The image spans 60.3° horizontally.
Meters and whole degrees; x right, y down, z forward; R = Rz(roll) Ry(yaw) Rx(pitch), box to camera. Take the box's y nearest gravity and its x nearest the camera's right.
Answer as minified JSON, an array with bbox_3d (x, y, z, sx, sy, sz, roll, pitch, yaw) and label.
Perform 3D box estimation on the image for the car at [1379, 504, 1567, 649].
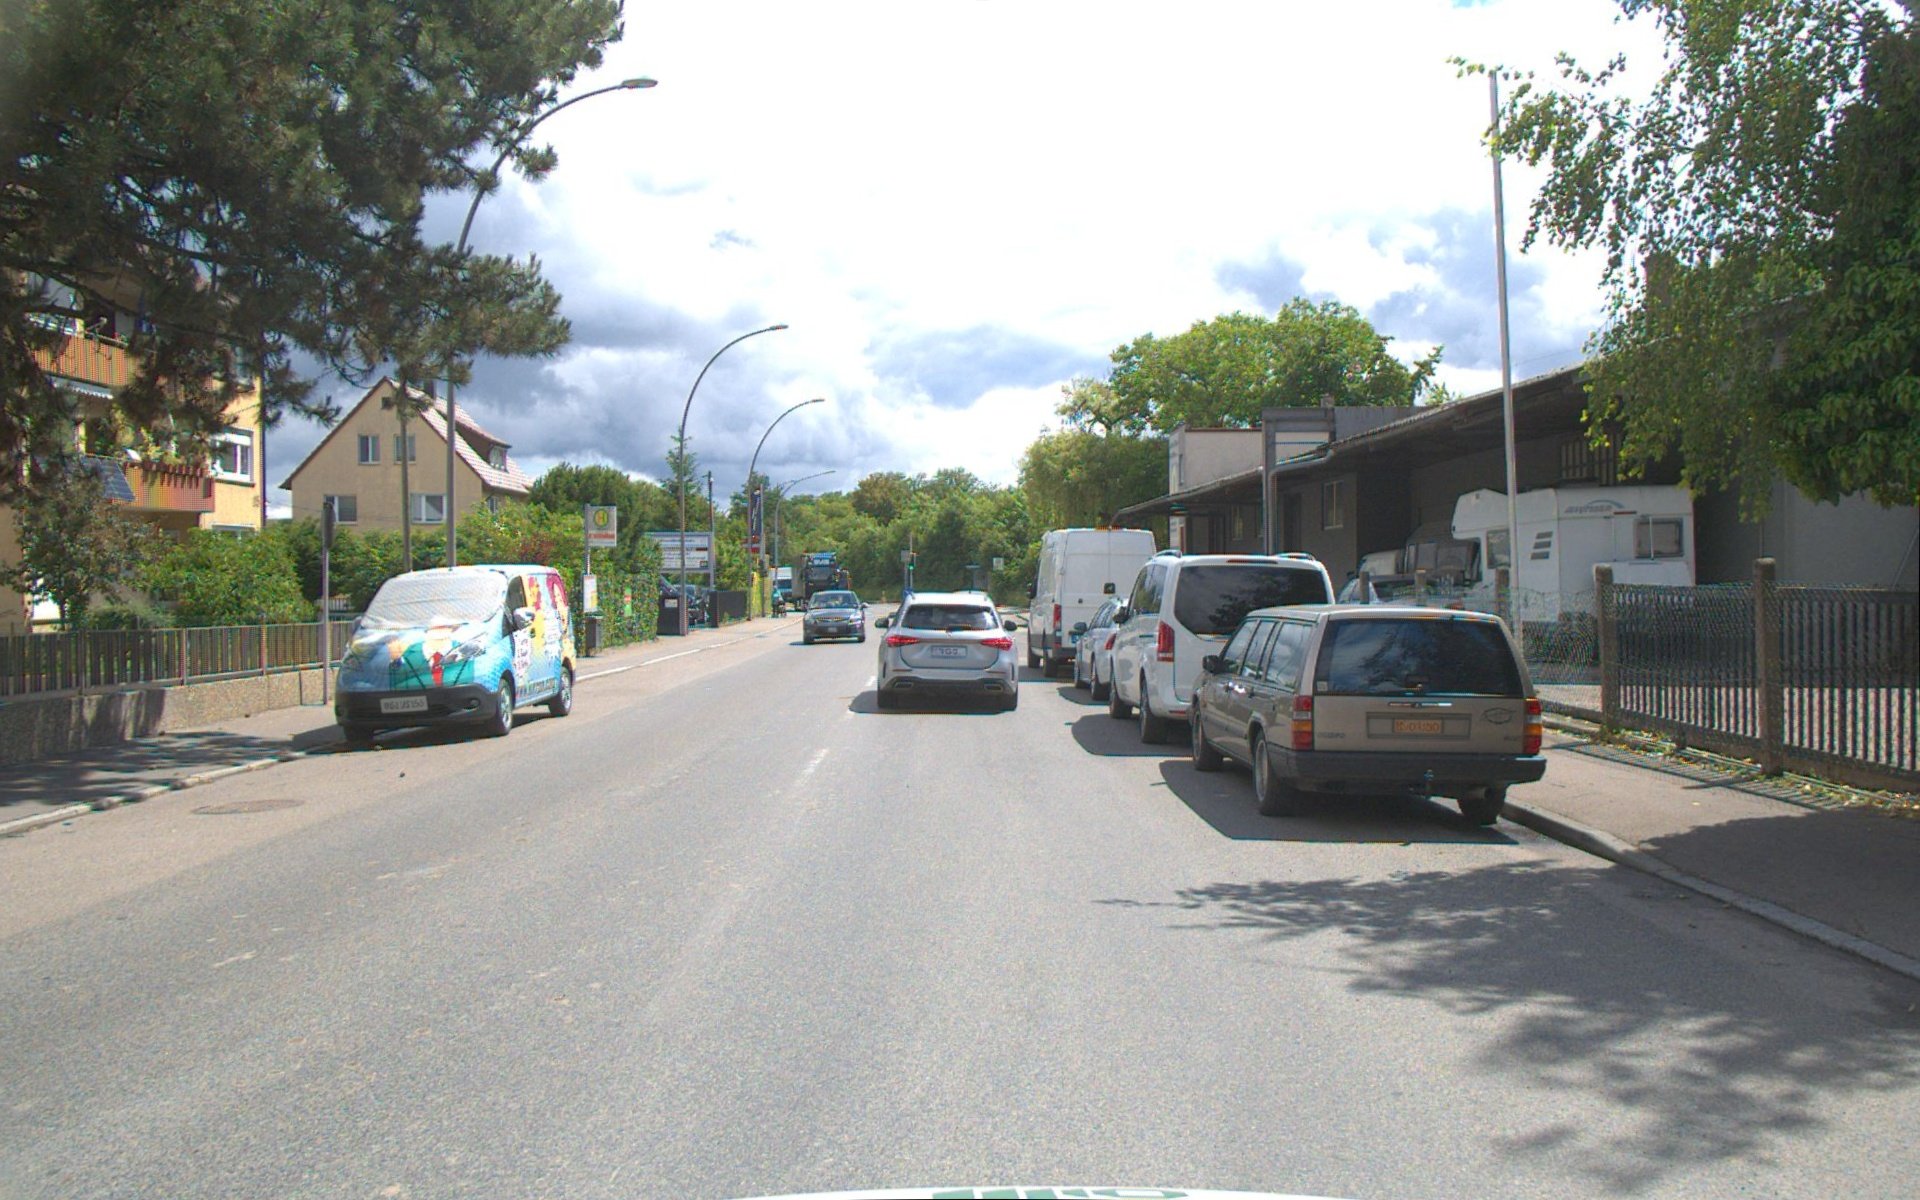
[{"bbox_3d":[10.419,-0.519,34.061,1.977,2.728,5.496,-1,2,-2],"label":"car"}]

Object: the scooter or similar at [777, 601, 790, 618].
[{"bbox_3d":[-9.047,0.471,84.651,0.599,0.846,0.659,1,0,-1],"label":"scooter or similar"}]

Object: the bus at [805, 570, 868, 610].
[{"bbox_3d":[-11.030,-0.846,146.420,2.735,3.323,12.061,-2,0,-18],"label":"bus"}]

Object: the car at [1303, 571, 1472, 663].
[{"bbox_3d":[7.659,0.237,30.090,1.728,1.515,4.926,0,1,-1],"label":"car"}]

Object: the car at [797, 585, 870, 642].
[{"bbox_3d":[-3.602,0.357,47.674,1.862,1.544,4.317,-1,0,-2],"label":"car"}]

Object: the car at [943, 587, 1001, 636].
[{"bbox_3d":[0.387,0.358,54.560,1.846,1.534,4.000,0,0,0],"label":"car"}]

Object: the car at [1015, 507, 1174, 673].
[{"bbox_3d":[2.383,-0.197,31.157,2.170,2.736,6.655,-1,0,-2],"label":"car"}]

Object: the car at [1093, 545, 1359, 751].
[{"bbox_3d":[2.733,0.434,18.332,1.867,1.918,5.387,1,0,-2],"label":"car"}]

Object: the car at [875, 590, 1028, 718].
[{"bbox_3d":[-0.115,0.638,21.972,1.846,1.534,4.000,0,0,0],"label":"car"}]

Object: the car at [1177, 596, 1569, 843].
[{"bbox_3d":[2.909,0.742,12.827,1.719,1.476,4.993,2,0,-1],"label":"car"}]

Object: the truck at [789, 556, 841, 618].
[{"bbox_3d":[-10.377,-0.910,117.674,2.387,4.203,9.121,2,0,-13],"label":"truck"}]

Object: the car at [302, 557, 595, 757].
[{"bbox_3d":[-5.676,0.521,19.051,1.796,1.885,4.895,-4,1,-1],"label":"car"}]

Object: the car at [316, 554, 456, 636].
[{"bbox_3d":[-19.435,-0.174,56.361,2.362,2.539,6.137,-2,0,2],"label":"car"}]

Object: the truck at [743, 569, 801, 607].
[{"bbox_3d":[-18.815,-1.163,164.980,2.804,3.602,9.646,-1,0,-25],"label":"truck"}]

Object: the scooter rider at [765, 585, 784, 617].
[{"bbox_3d":[-9.532,0.067,85.106,0.860,1.617,0.796,-1,0,-1],"label":"scooter rider"}]

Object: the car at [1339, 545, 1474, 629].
[{"bbox_3d":[10.950,-0.347,40.930,1.953,1.943,4.852,-1,1,-1],"label":"car"}]

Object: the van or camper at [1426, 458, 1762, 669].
[{"bbox_3d":[10.400,-0.572,28.036,2.823,3.114,6.910,-1,0,-2],"label":"van or camper"}]

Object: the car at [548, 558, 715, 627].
[{"bbox_3d":[-12.622,-0.300,63.923,5.914,2.540,2.477,-1,0,-1],"label":"car"}]
